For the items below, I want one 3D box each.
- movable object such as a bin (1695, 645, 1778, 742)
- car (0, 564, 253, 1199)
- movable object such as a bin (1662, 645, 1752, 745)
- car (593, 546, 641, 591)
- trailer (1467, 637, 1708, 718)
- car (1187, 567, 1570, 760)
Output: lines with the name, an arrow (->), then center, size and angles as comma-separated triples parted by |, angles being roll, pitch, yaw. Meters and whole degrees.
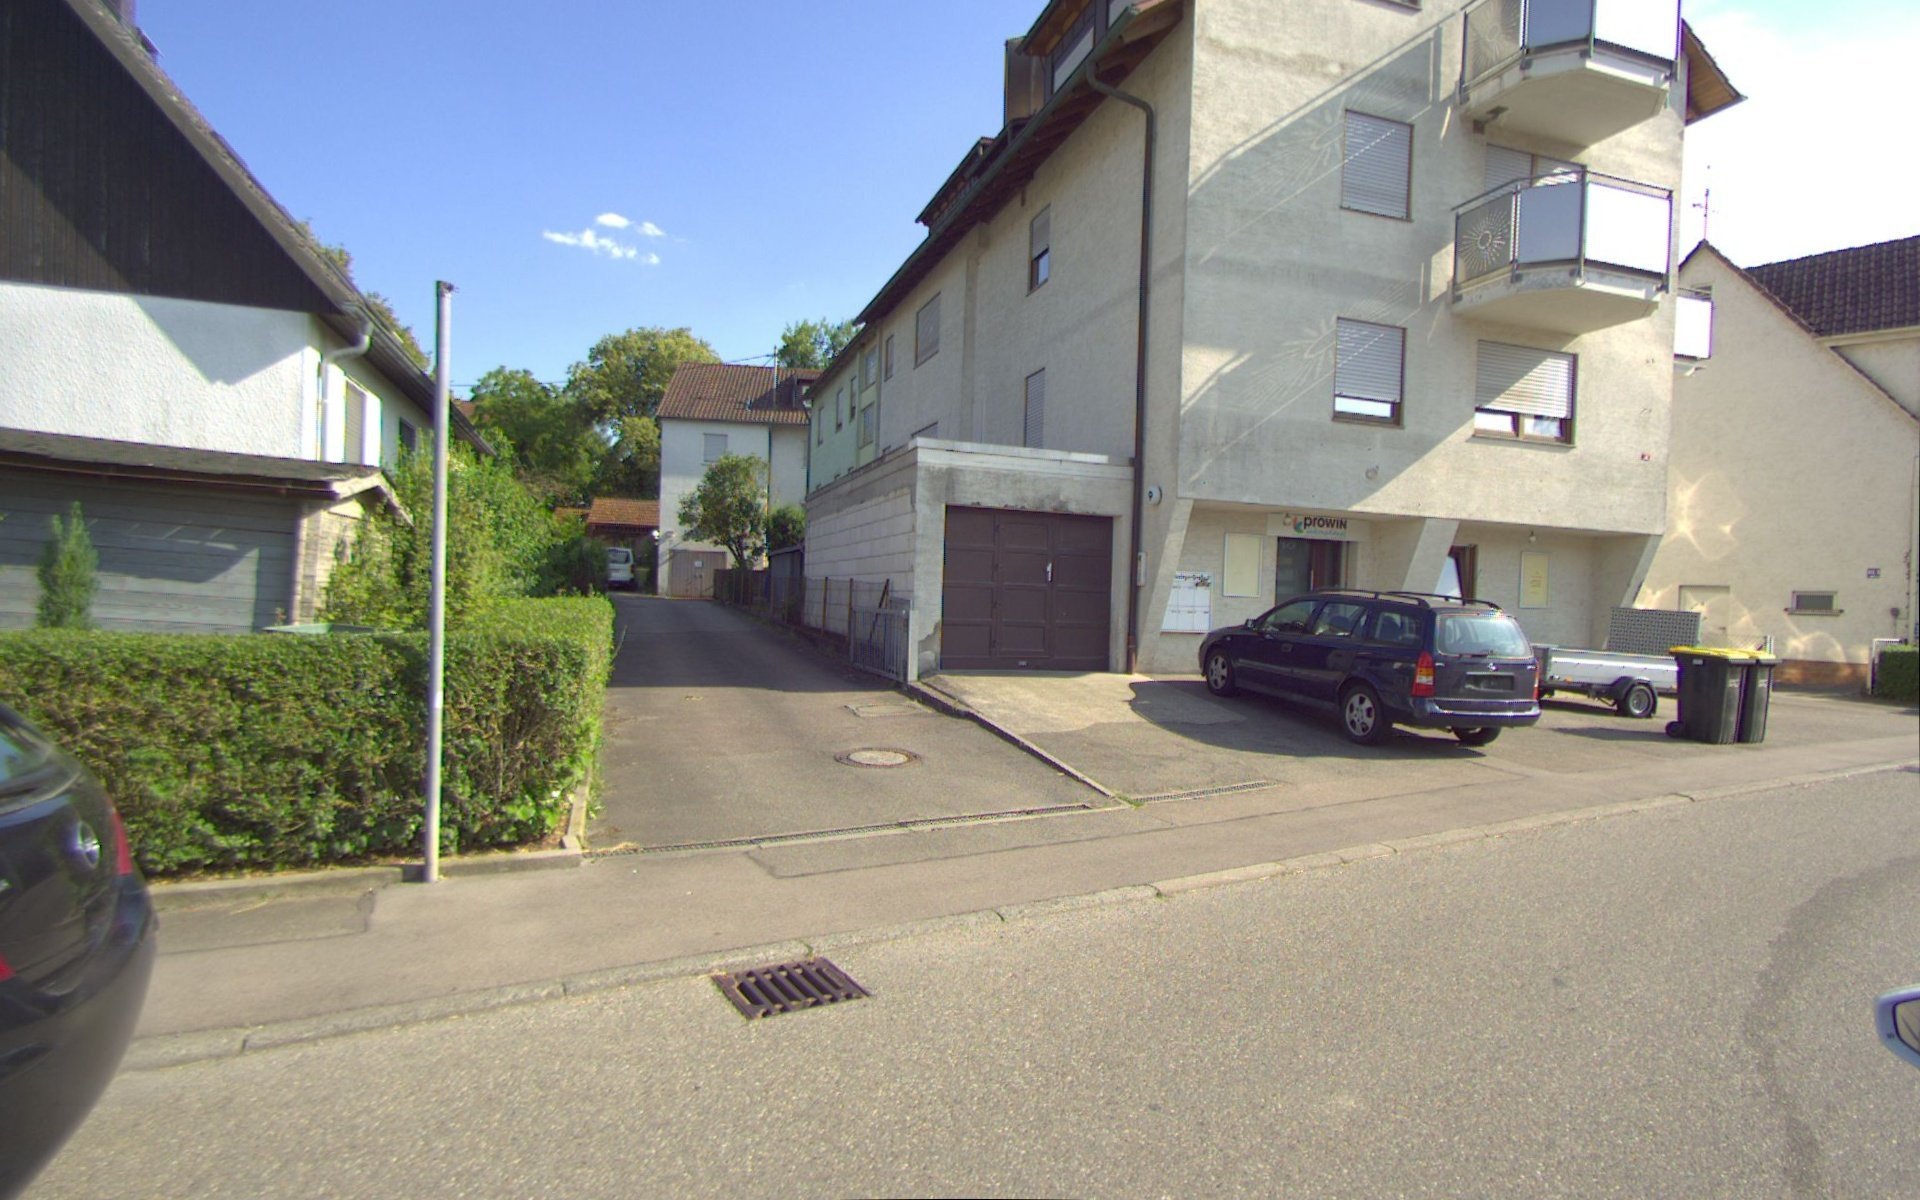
movable object such as a bin -> 9.390, 1.114, 12.154 | 0.551, 1.085, 0.567 | 1, 3, -31
car -> -3.500, 0.625, 1.491 | 3.787, 1.471, 1.665 | 2, 0, -29
movable object such as a bin -> 8.834, 1.107, 11.883 | 0.612, 1.085, 0.596 | 1, 3, -31
car -> -15.772, -1.408, 46.389 | 1.753, 1.938, 3.988 | 2, 0, -15
trailer -> 9.119, 1.124, 14.651 | 2.843, 0.866, 1.330 | 4, 2, -14
car -> 4.421, 0.551, 11.374 | 1.735, 1.559, 3.982 | 2, 5, -18
